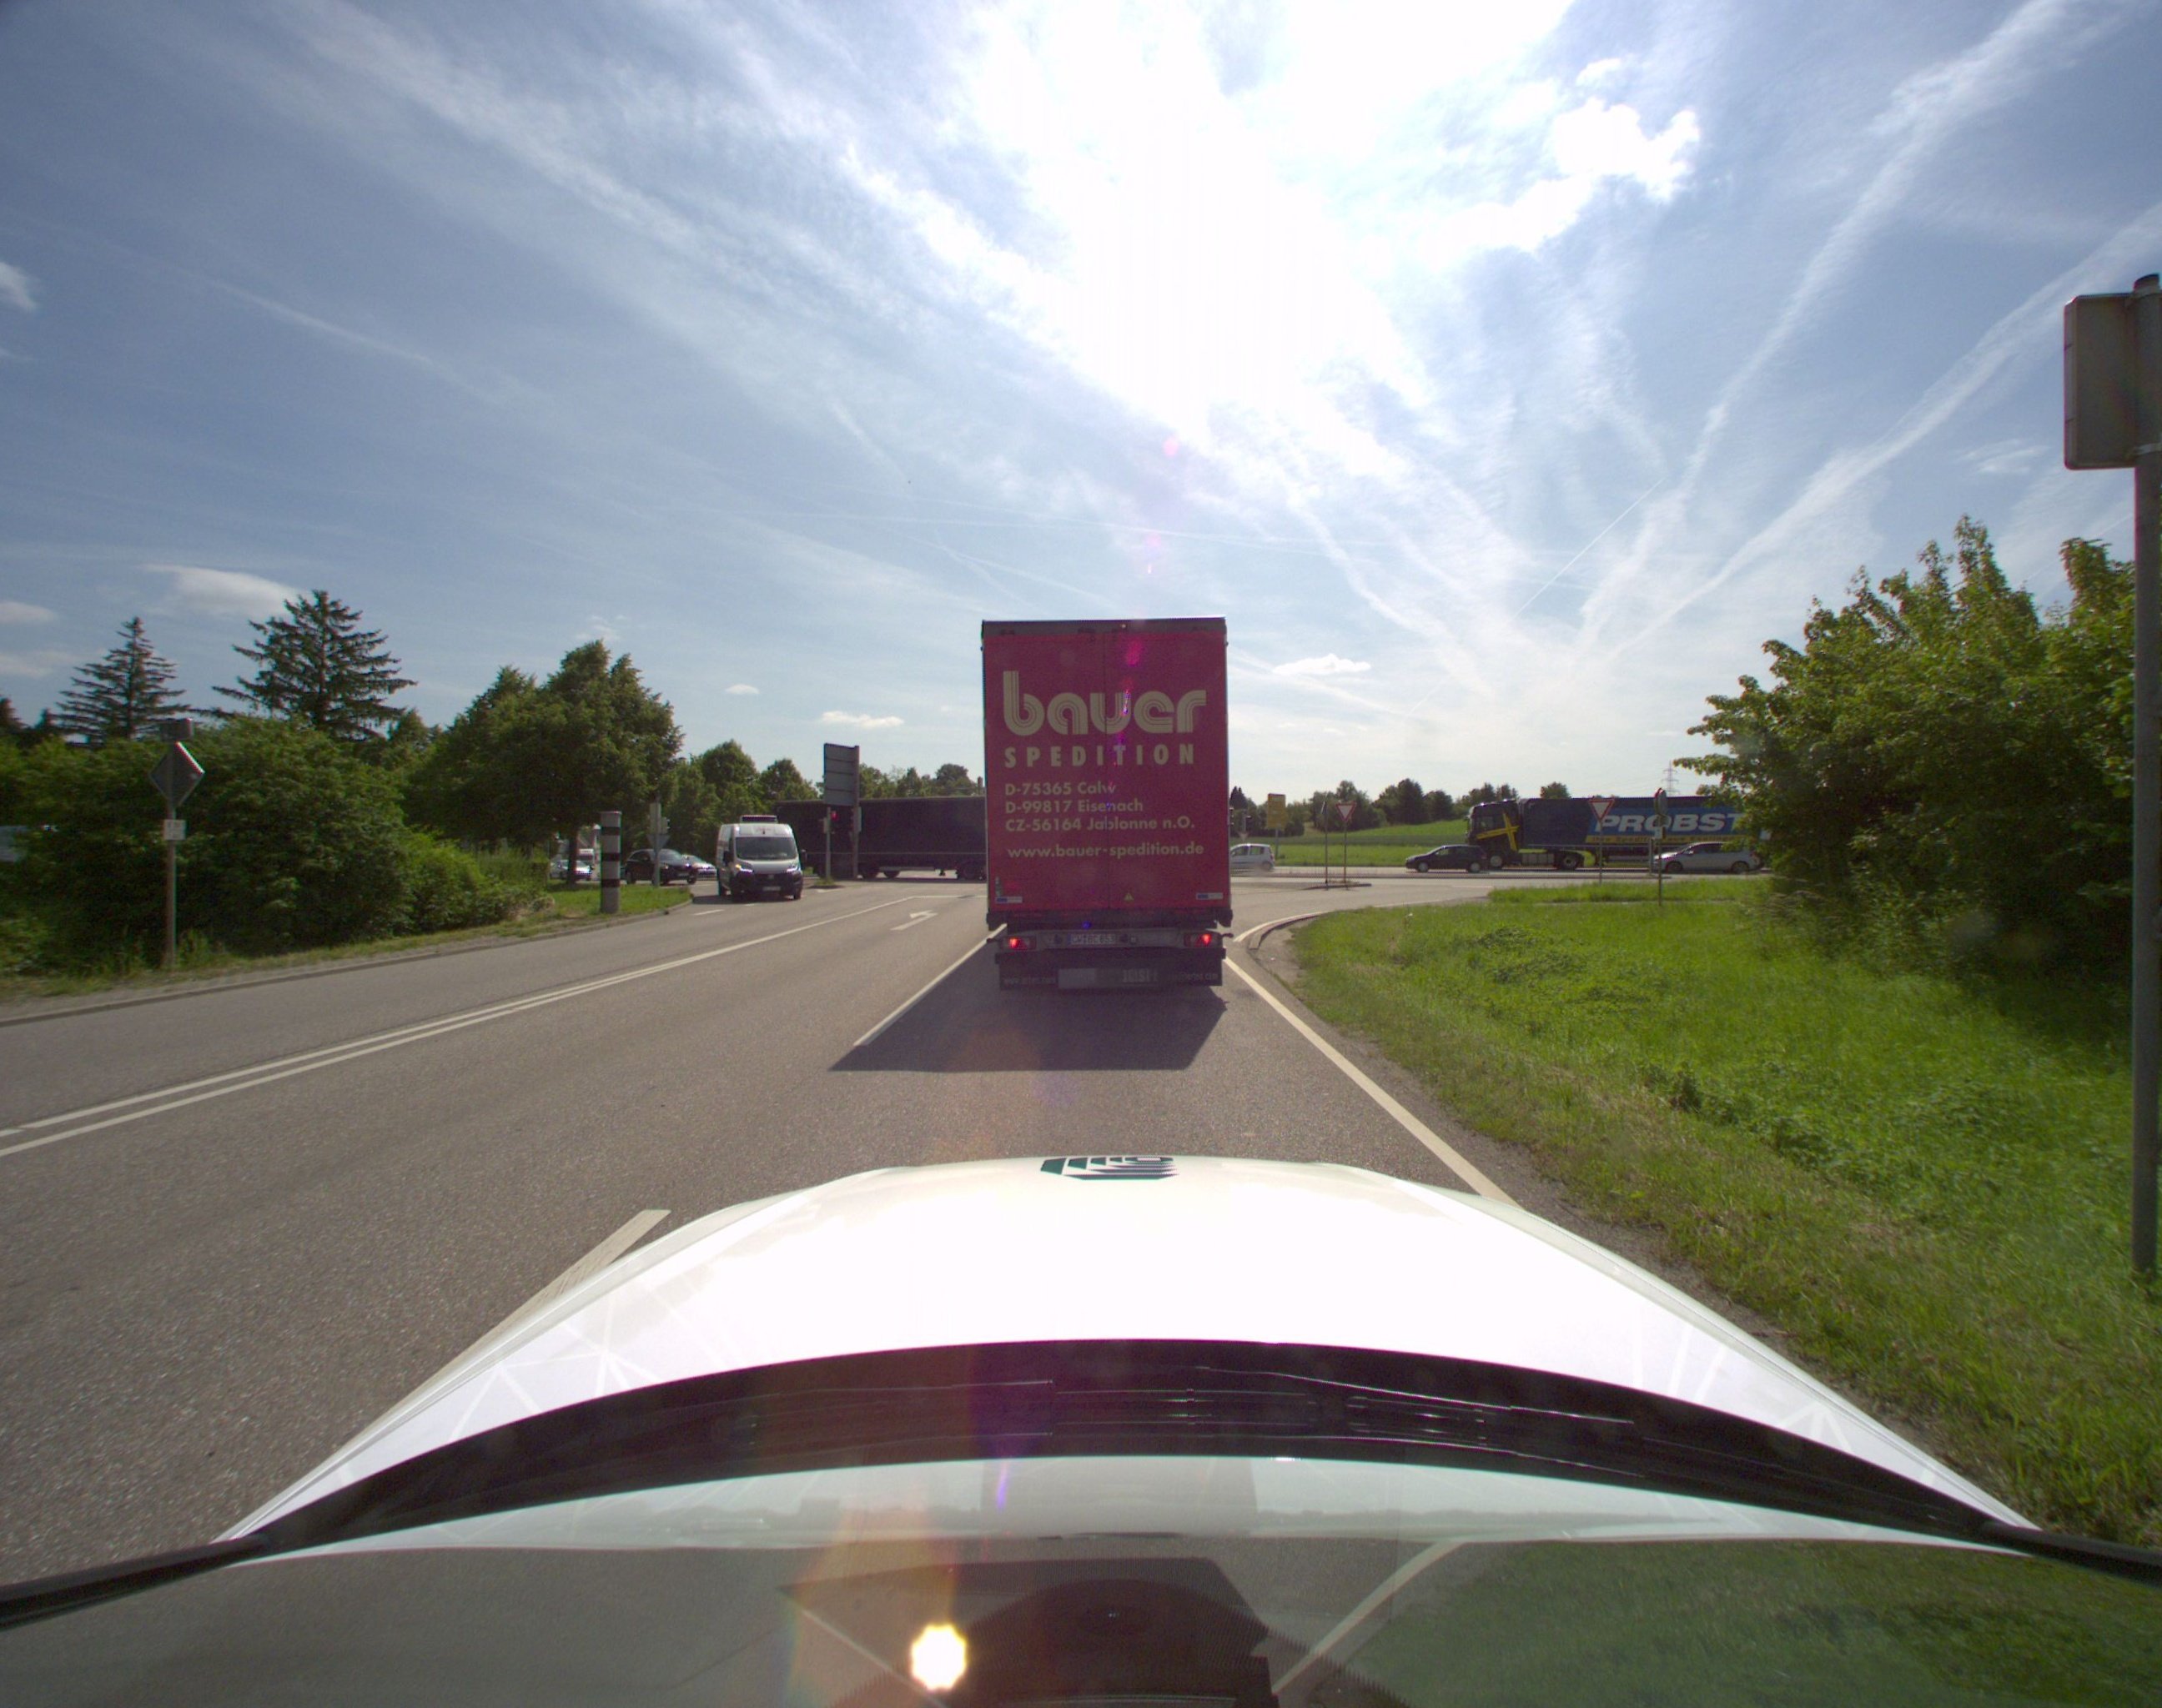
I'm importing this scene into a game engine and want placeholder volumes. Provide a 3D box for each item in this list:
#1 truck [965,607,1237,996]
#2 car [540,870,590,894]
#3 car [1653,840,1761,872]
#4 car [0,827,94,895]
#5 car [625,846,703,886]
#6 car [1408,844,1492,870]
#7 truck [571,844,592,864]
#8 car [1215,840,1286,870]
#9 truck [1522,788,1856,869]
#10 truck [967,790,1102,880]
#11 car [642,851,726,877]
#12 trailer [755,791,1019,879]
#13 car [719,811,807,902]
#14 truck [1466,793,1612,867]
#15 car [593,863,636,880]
[{"bbox_3d":[0.441,-0.601,16.604,2.724,3.925,16.632,-1,0,2],"label":"truck"},{"bbox_3d":[-34.464,1.828,54.359,3.997,1.416,1.806,1,2,43],"label":"car"},{"bbox_3d":[30.508,0.109,39.822,3.958,1.491,1.546,-1,-1,26],"label":"car"},{"bbox_3d":[-35.851,0.211,26.296,4.601,2.180,1.985,0,0,-22],"label":"car"},{"bbox_3d":[-19.355,0.537,37.728,4.058,1.750,1.884,-1,-1,42],"label":"car"},{"bbox_3d":[19.666,0.167,43.536,3.953,1.310,1.775,-1,-1,20],"label":"car"},{"bbox_3d":[-95.125,-0.048,155.301,2.954,3.798,7.854,-1,0,-29],"label":"truck"},{"bbox_3d":[9.737,0.085,46.963,3.810,1.633,1.763,-1,-1,4],"label":"car"},{"bbox_3d":[31.934,-1.281,43.938,14.155,3.979,3.045,0,1,23],"label":"truck"},{"bbox_3d":[-2.154,-0.892,38.850,5.783,4.061,2.810,0,1,15],"label":"truck"},{"bbox_3d":[-22.369,0.546,45.917,4.211,1.461,1.819,0,0,20],"label":"car"},{"bbox_3d":[-9.981,-0.915,41.280,13.571,4.061,2.812,0,1,19],"label":"trailer"},{"bbox_3d":[-10.605,0.077,26.859,2.129,2.654,5.933,-1,0,-27],"label":"car"},{"bbox_3d":[25.895,-1.308,46.465,6.872,3.993,3.043,0,1,20],"label":"truck"},{"bbox_3d":[-41.541,1.551,72.496,3.948,1.429,2.013,0,-1,38],"label":"car"}]
